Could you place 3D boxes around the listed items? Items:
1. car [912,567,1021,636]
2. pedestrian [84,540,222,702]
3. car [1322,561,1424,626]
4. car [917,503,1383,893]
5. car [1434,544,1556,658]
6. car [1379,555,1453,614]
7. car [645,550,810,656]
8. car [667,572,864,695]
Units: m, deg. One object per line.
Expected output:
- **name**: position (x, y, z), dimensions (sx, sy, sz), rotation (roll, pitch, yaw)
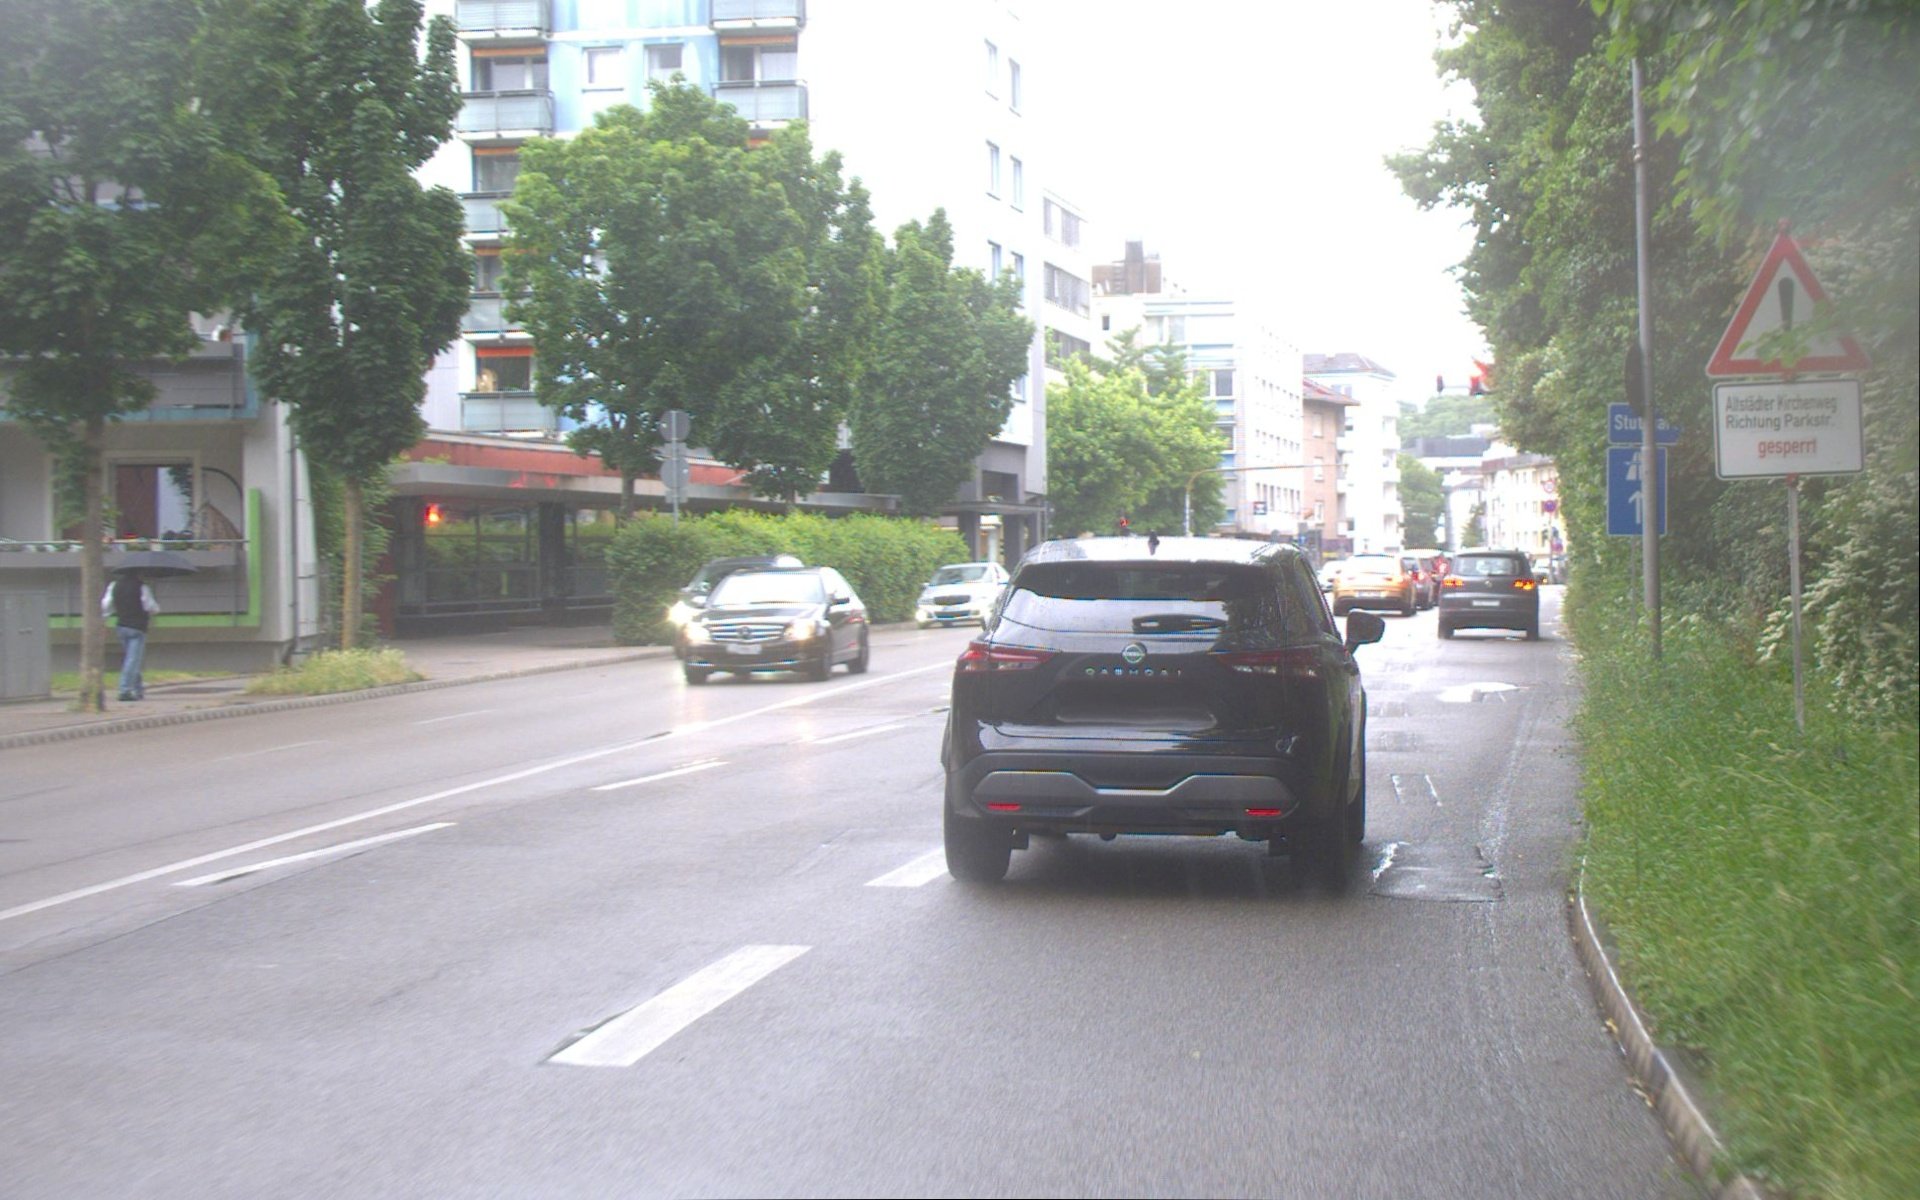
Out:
- **car**: position (0.181, 0.012, 77.045), dimensions (1.874, 1.386, 4.626), rotation (-2, 1, 7)
- **pedestrian**: position (-9.159, 0.223, 39.062), dimensions (1.134, 1.798, 1.263), rotation (-1, 1, 7)
- **car**: position (9.747, -0.180, 80.940), dimensions (2.067, 1.459, 4.584), rotation (0, 1, 11)
- **car**: position (1.048, 0.389, 16.661), dimensions (1.960, 1.647, 3.999), rotation (-1, 1, 7)
- **car**: position (9.808, -0.008, 62.841), dimensions (1.994, 2.007, 3.998), rotation (-1, 1, 12)
- **car**: position (11.967, -0.414, 90.062), dimensions (1.744, 1.482, 4.160), rotation (-1, 0, 10)
- **car**: position (-3.742, 0.021, 56.167), dimensions (1.874, 1.597, 4.463), rotation (-2, 1, 6)
- **car**: position (-2.389, 0.381, 43.225), dimensions (1.841, 1.380, 4.359), rotation (-2, 1, 5)
